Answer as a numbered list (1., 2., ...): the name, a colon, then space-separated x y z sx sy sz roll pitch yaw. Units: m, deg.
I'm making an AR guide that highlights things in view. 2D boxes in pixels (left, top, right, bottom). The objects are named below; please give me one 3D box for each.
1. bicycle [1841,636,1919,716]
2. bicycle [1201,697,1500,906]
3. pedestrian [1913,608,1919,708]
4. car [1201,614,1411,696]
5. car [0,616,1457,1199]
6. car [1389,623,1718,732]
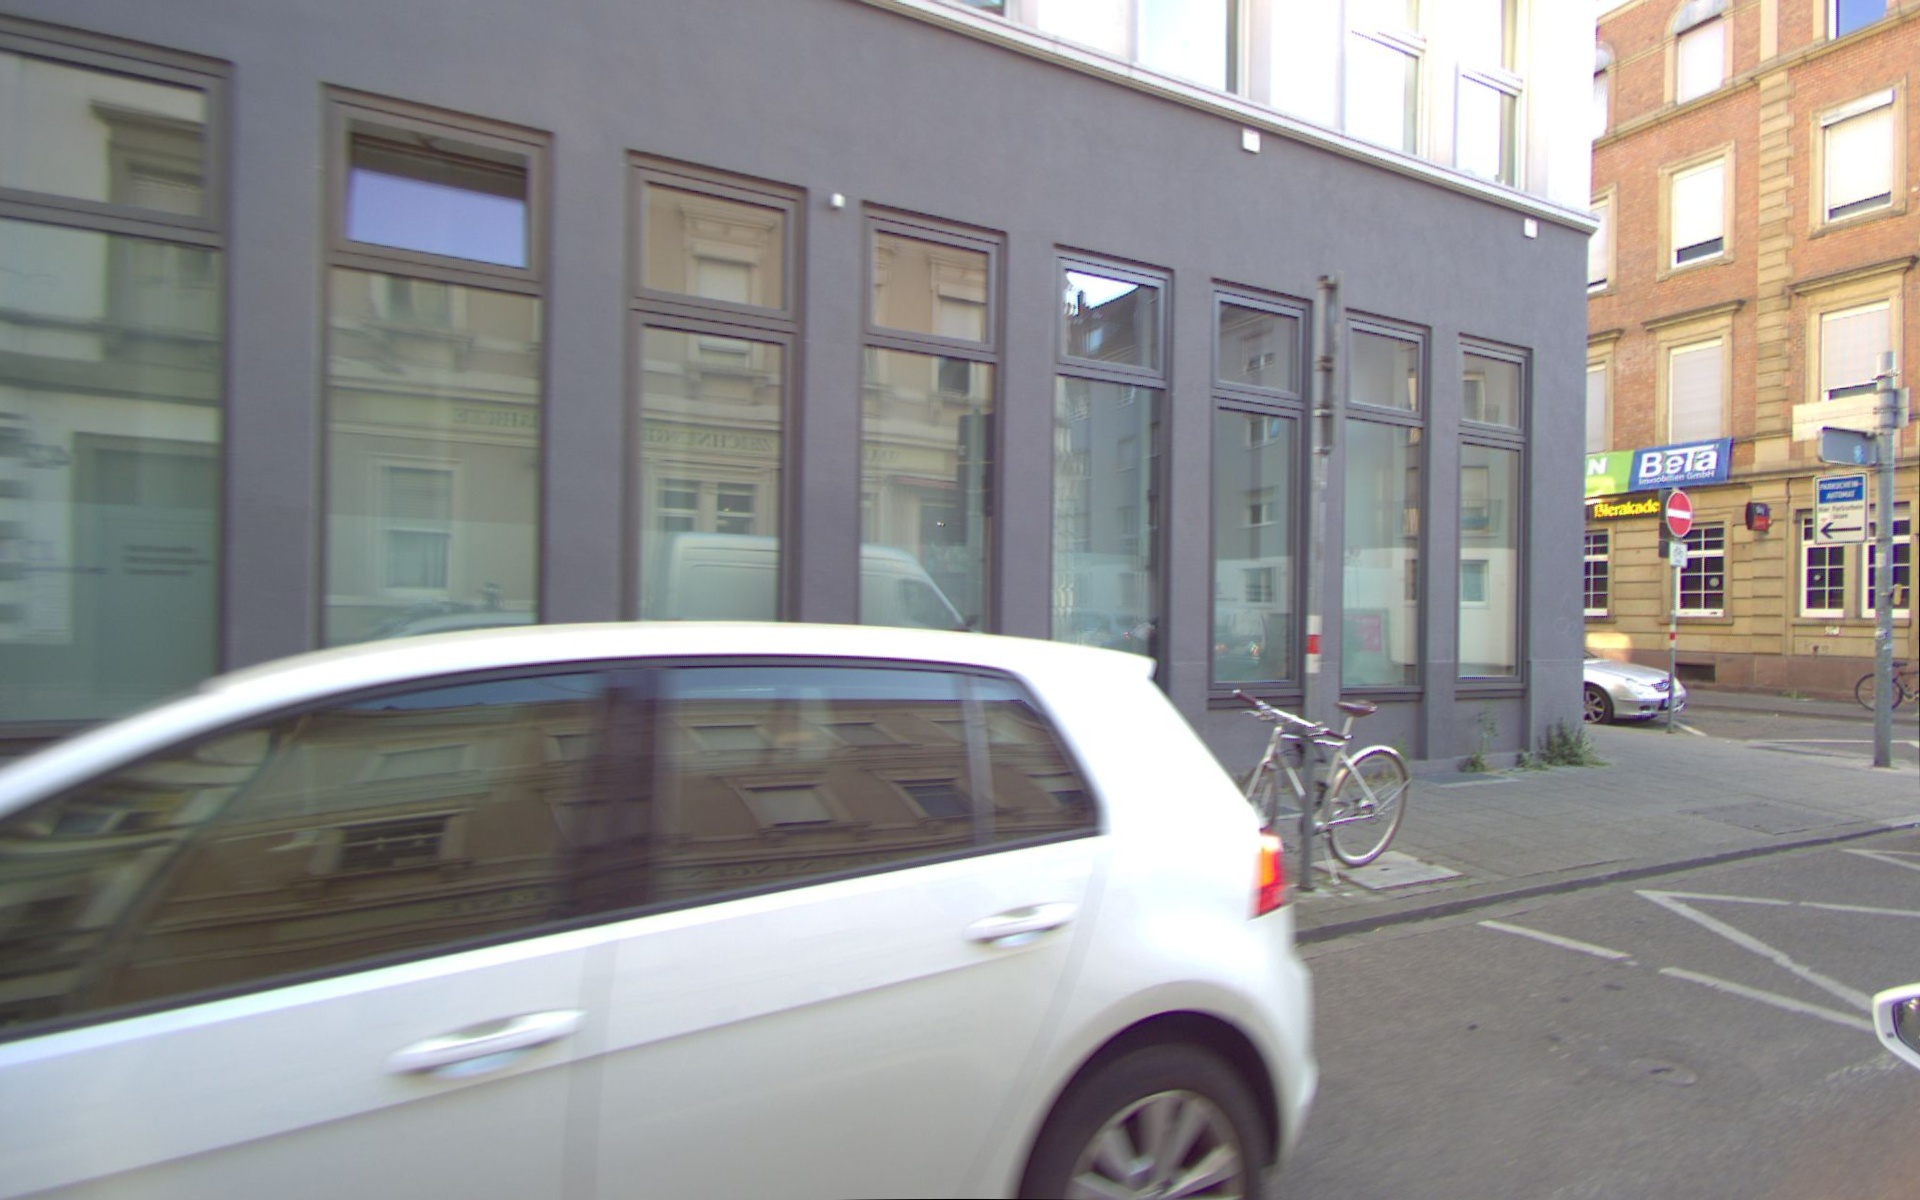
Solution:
1. bicycle: 16.378 1.304 17.252 0.653 1.292 1.749 -3 2 -30
2. bicycle: 2.157 1.040 5.516 1.622 0.917 0.594 1 0 -27
3. pedestrian: 17.486 1.026 17.547 0.974 1.765 1.008 1 0 -32
4. car: 7.303 1.096 21.636 1.988 1.545 4.090 1 -1 -26
5. car: -0.943 0.770 2.097 3.834 1.432 1.651 1 -1 -28
6. car: 9.525 1.153 16.551 1.734 1.420 4.455 0 0 -28
